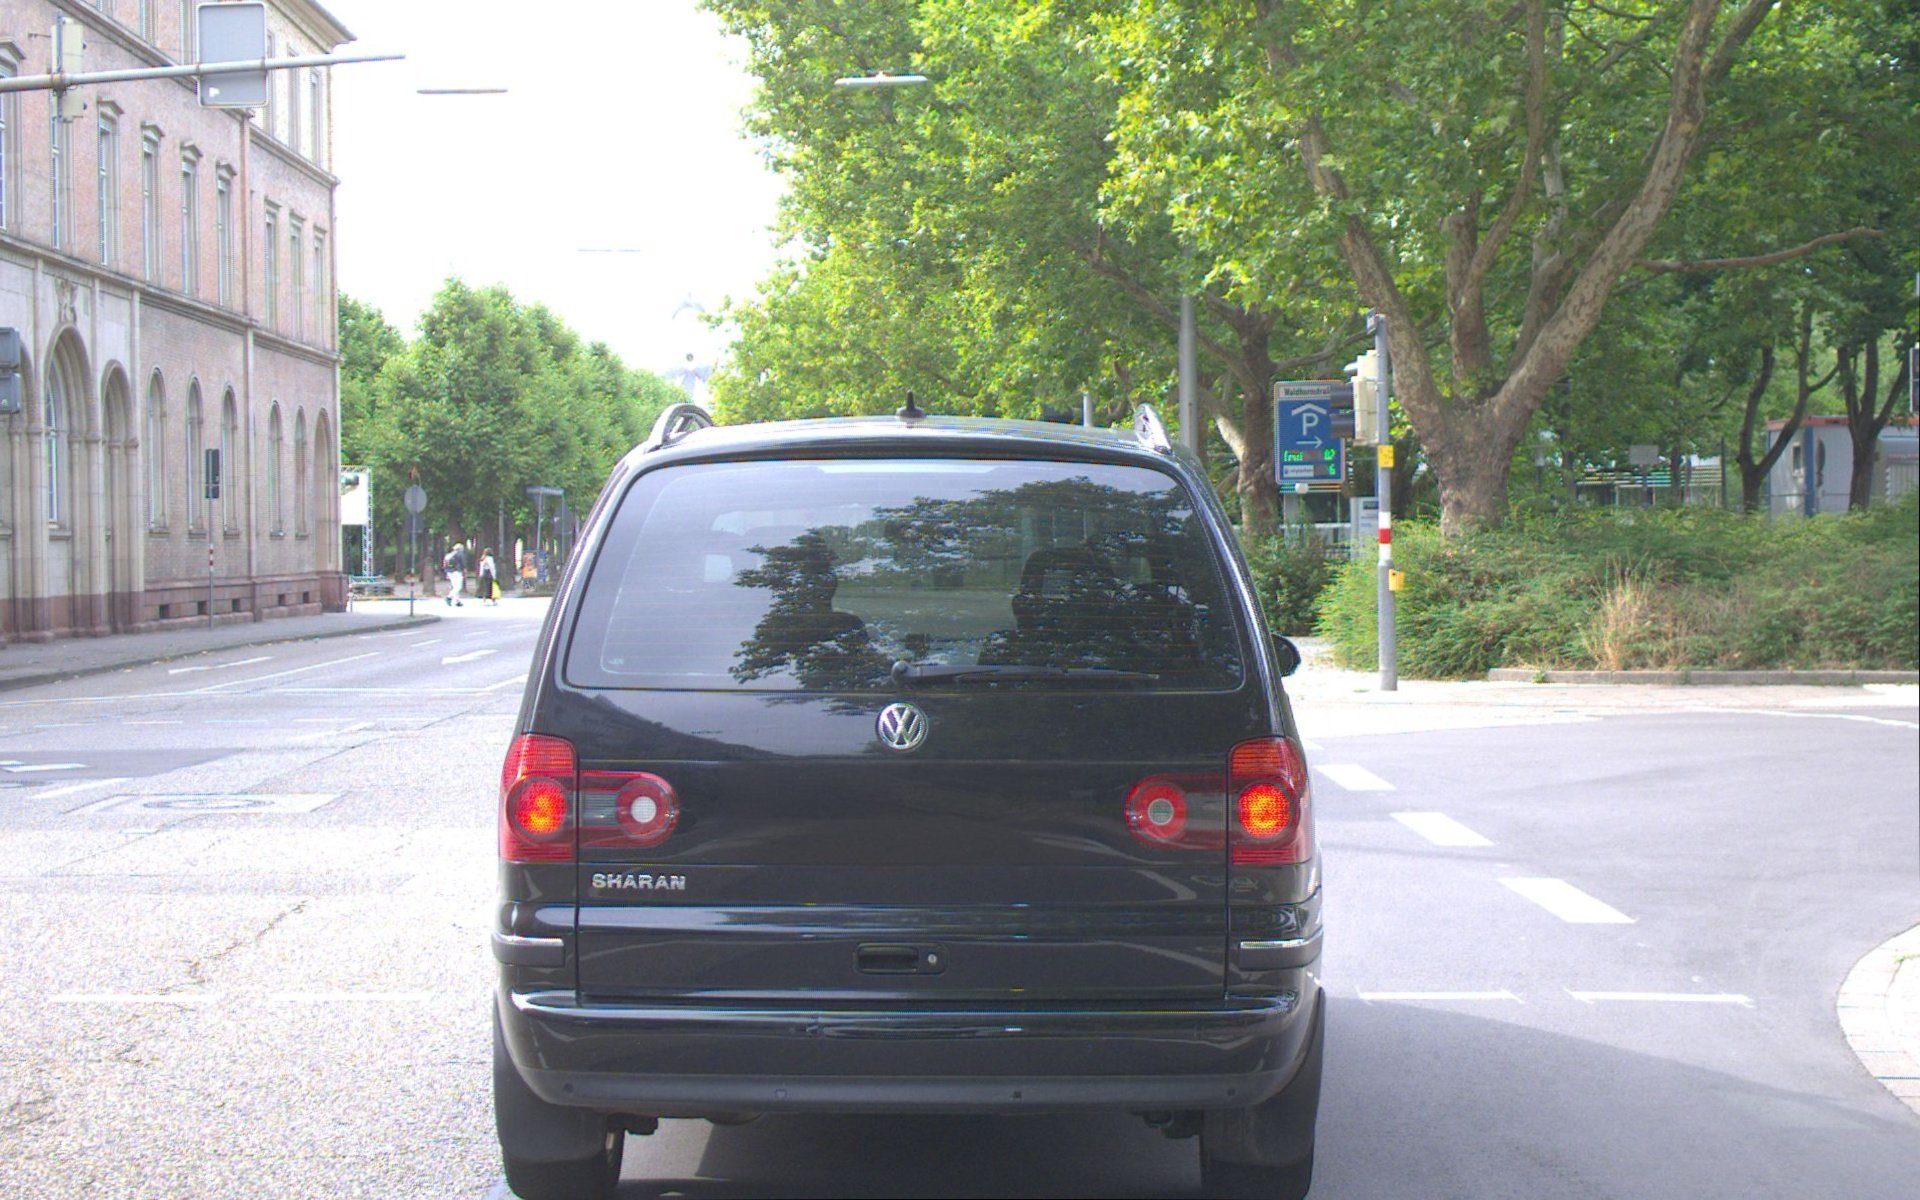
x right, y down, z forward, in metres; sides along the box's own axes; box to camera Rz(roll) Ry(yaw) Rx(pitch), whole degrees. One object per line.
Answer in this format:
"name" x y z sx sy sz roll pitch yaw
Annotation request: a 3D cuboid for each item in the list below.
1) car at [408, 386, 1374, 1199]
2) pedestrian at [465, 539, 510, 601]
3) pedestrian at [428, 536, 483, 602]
"car" -0.170 0.423 8.530 1.793 1.702 4.131 -1 1 -1
"pedestrian" -12.495 -0.795 90.928 0.896 1.635 0.852 1 1 18
"pedestrian" -13.398 -0.829 91.273 0.961 1.735 1.255 1 1 18
